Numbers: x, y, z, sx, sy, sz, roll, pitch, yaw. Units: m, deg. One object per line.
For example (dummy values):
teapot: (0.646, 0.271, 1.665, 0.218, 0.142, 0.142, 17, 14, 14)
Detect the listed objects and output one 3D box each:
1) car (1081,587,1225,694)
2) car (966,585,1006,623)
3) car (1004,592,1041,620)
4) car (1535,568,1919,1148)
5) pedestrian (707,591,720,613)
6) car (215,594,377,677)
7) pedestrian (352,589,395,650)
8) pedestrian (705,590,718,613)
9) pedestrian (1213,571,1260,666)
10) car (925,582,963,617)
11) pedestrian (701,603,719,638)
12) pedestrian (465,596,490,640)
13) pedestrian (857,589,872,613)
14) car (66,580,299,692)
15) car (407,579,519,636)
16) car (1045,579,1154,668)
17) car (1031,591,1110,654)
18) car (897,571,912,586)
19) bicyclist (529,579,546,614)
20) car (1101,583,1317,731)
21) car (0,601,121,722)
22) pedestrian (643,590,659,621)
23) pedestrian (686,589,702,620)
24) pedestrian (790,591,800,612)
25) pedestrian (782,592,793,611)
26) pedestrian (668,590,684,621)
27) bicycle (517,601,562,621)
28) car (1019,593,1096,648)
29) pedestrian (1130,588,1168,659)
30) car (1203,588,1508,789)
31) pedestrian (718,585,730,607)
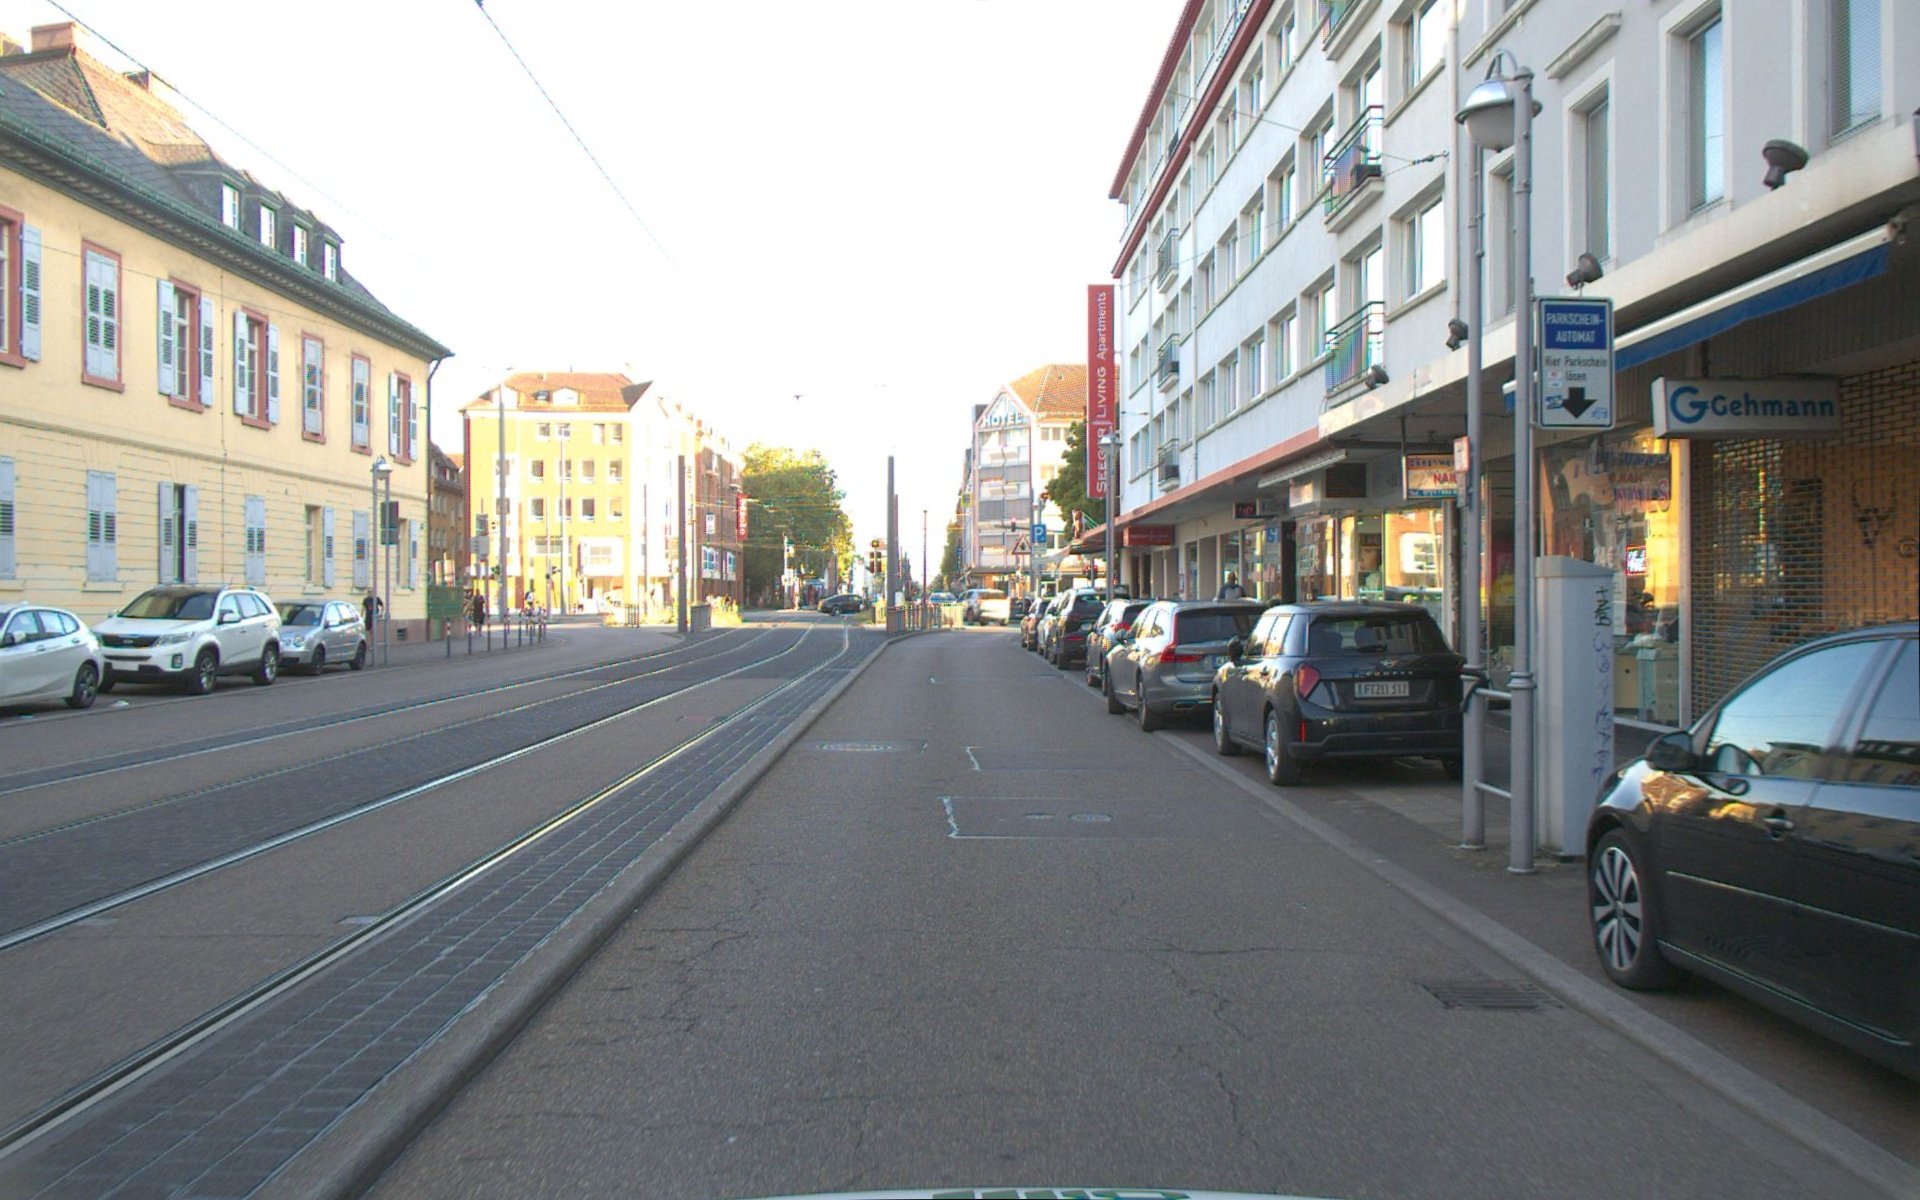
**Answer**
car: (3.025, 0.581, 26.713, 1.745, 1.549, 4.356, 1, 0, -1)
car: (1.196, 0.218, 77.775, 1.797, 1.665, 4.090, -1, -1, 0)
car: (3.405, 0.294, 90.458, 1.729, 1.465, 3.998, 0, 0, -3)
car: (3.417, 0.708, 5.209, 1.729, 1.540, 4.071, 1, 0, -1)
pedestrian: (-23.076, 0.162, 155.080, 1.071, 2.049, 0.908, 1, -1, -3)
car: (-13.366, 0.672, 33.544, 1.713, 1.499, 3.999, 1, 1, -1)
pedestrian: (-15.567, 0.513, 43.907, 0.783, 1.569, 0.877, 1, -1, 1)
pedestrian: (-23.074, 0.151, 153.836, 1.071, 2.049, 0.908, 1, -1, -3)
pedestrian: (5.666, 0.375, 33.921, 0.759, 1.913, 0.934, -1, 0, -3)
car: (-0.871, -0.013, 90.141, 1.953, 1.623, 3.999, -4, -2, -1)
pedestrian: (-10.326, 0.845, 68.362, 0.650, 1.399, 0.651, 1, -1, -4)
pedestrian: (-17.019, 0.631, 58.328, 0.705, 1.563, 0.718, -1, 0, -5)
pedestrian: (-5.674, 0.052, 98.476, 0.885, 1.399, 0.853, -1, 0, -4)
car: (-12.995, 0.554, 28.011, 1.849, 1.690, 4.758, 1, 0, -3)
car: (-18.602, 0.263, 61.998, 3.924, 2.049, 1.990, -1, 0, -17)
car: (2.914, 0.475, 35.287, 1.818, 1.730, 4.417, 1, 0, -1)
car: (2.717, 0.544, 41.357, 1.617, 1.445, 4.190, 1, 0, -1)
car: (-7.979, -3.074, 237.382, 1.953, 1.934, 4.000, 1, 0, 0)
bicyclist: (-25.619, -0.216, 100.308, 0.848, 2.049, 0.642, 2, -1, -22)
car: (2.913, 0.626, 20.385, 1.755, 1.560, 4.855, 1, 0, -2)
car: (-13.022, 0.781, 21.916, 1.686, 1.478, 4.282, 1, 0, -1)
pedestrian: (-13.947, 0.240, 74.686, 0.650, 1.399, 0.651, 0, 0, -4)
pedestrian: (-12.111, 0.202, 75.234, 0.650, 1.399, 0.651, 0, 0, -4)
pedestrian: (-14.828, 0.098, 148.722, 0.789, 1.855, 0.703, 1, -1, 1)
pedestrian: (-15.616, 0.130, 149.604, 0.788, 1.693, 0.703, 1, -1, 3)
pedestrian: (-12.840, 0.236, 74.824, 0.650, 1.399, 0.651, 0, 0, -4)
bicycle: (-25.525, 0.663, 100.343, 2.602, 1.119, 0.433, 2, -1, -21)
car: (2.698, 0.563, 46.598, 1.753, 1.437, 4.686, 1, 0, -1)
pedestrian: (4.302, 0.533, 37.715, 0.718, 1.601, 0.966, 0, 0, -2)
car: (3.339, 0.690, 14.724, 1.691, 1.507, 3.999, 1, 0, -1)
pedestrian: (-22.635, -0.355, 158.605, 1.071, 2.049, 1.162, 1, 0, -3)
